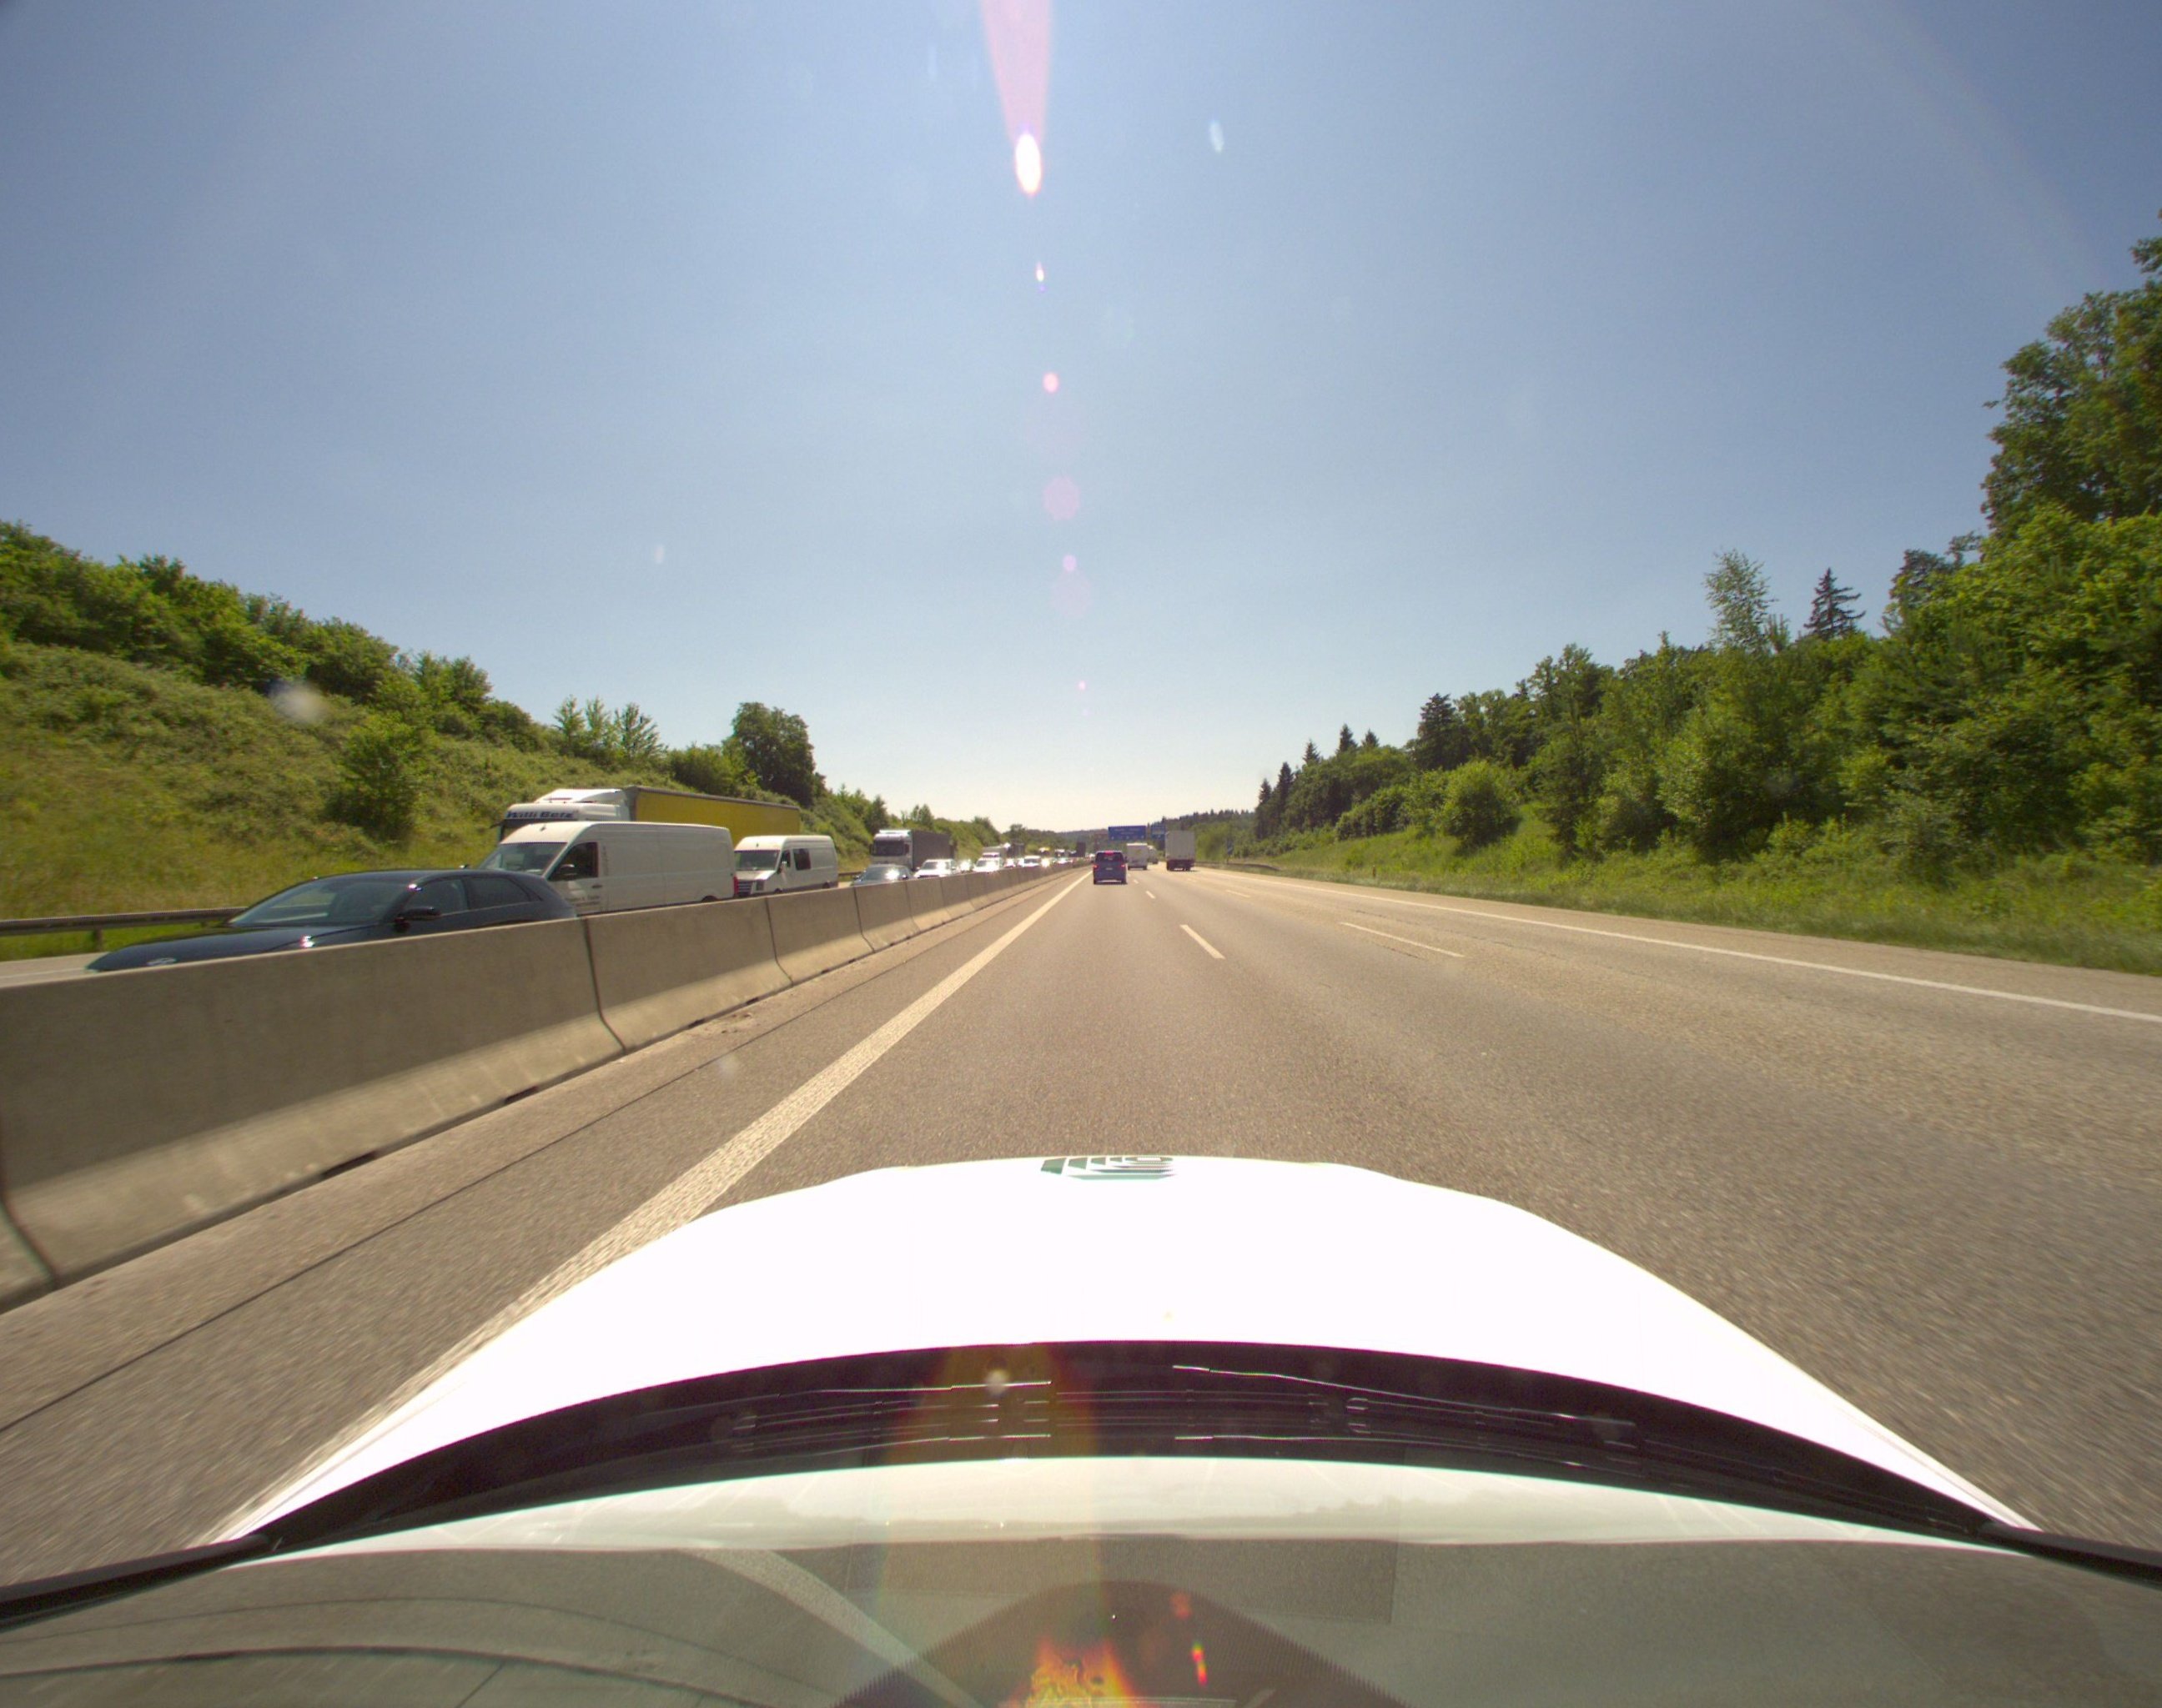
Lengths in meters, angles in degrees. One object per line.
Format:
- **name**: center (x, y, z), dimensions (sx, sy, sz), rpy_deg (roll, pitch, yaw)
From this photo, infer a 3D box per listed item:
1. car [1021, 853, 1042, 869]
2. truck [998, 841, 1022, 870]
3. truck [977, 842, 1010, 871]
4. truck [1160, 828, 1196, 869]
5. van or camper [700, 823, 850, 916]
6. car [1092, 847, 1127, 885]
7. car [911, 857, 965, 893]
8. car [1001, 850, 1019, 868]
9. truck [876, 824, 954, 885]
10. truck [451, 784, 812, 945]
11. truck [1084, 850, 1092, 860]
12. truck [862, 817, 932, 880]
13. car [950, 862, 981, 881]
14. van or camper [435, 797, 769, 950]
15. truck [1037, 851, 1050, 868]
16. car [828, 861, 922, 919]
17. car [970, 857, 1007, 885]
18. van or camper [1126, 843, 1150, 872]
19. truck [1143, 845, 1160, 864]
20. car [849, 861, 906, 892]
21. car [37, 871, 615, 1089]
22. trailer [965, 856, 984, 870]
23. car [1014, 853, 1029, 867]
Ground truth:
- **car**: center (-5.085, 0.757, 84.245), dimensions (1.821, 1.565, 5.112), rpy_deg (0, -1, 1)
- **truck**: center (-10.734, 0.295, 123.175), dimensions (2.807, 4.203, 5.633), rpy_deg (0, -1, 3)
- **truck**: center (-9.045, 0.322, 84.830), dimensions (2.559, 2.845, 6.753), rpy_deg (0, -1, 1)
- **truck**: center (10.128, -0.493, 85.982), dimensions (2.773, 4.128, 9.740), rpy_deg (0, -1, 1)
- **van or camper**: center (-10.799, 0.556, 29.655), dimensions (2.187, 2.939, 7.541), rpy_deg (0, -1, 4)
- **car**: center (1.625, 0.658, 47.325), dimensions (1.902, 2.013, 4.002), rpy_deg (-2, 1, 2)
- **car**: center (-7.372, 1.079, 42.534), dimensions (1.821, 1.764, 4.991), rpy_deg (0, -1, 1)
- **car**: center (-8.257, 0.612, 95.416), dimensions (1.617, 2.014, 4.001), rpy_deg (0, -1, 2)
- **truck**: center (-13.598, 0.152, 68.354), dimensions (2.982, 4.543, 13.935), rpy_deg (0, -1, 3)
- **truck**: center (-15.302, 0.416, 31.049), dimensions (3.681, 4.456, 16.688), rpy_deg (0, -1, 3)
- **truck**: center (2.012, 0.300, 230.101), dimensions (2.111, 2.842, 6.216), rpy_deg (0, -1, 3)
- **truck**: center (-13.956, -0.328, 62.549), dimensions (2.930, 4.516, 8.612), rpy_deg (0, -1, 3)
- **car**: center (-9.480, 1.428, 67.264), dimensions (1.821, 1.565, 4.524), rpy_deg (0, -1, 1)
- **van or camper**: center (-10.188, 0.401, 18.496), dimensions (2.237, 2.775, 7.240), rpy_deg (-1, -1, 11)
- **truck**: center (-8.846, 1.335, 191.350), dimensions (2.593, 4.065, 6.134), rpy_deg (0, -1, 1)
- **car**: center (-6.833, 1.145, 27.613), dimensions (1.821, 1.764, 4.991), rpy_deg (0, -1, 1)
- **car**: center (-6.135, 1.120, 54.550), dimensions (1.821, 1.764, 4.991), rpy_deg (0, -1, 1)
- **van or camper**: center (6.578, 0.451, 94.714), dimensions (2.592, 3.079, 7.185), rpy_deg (0, -3, 3)
- **truck**: center (13.672, 0.048, 159.347), dimensions (2.915, 3.575, 8.534), rpy_deg (-2, 0, 3)
- **car**: center (-10.758, 1.174, 43.383), dimensions (1.821, 1.565, 4.524), rpy_deg (0, -1, 1)
- **car**: center (-7.689, 1.093, 9.255), dimensions (1.821, 1.764, 4.991), rpy_deg (0, -1, 1)
- **trailer**: center (-12.404, 1.080, 95.308), dimensions (1.688, 1.587, 3.223), rpy_deg (0, -1, 2)
- **car**: center (-8.082, 0.820, 110.291), dimensions (1.565, 1.731, 3.886), rpy_deg (0, -1, 2)
